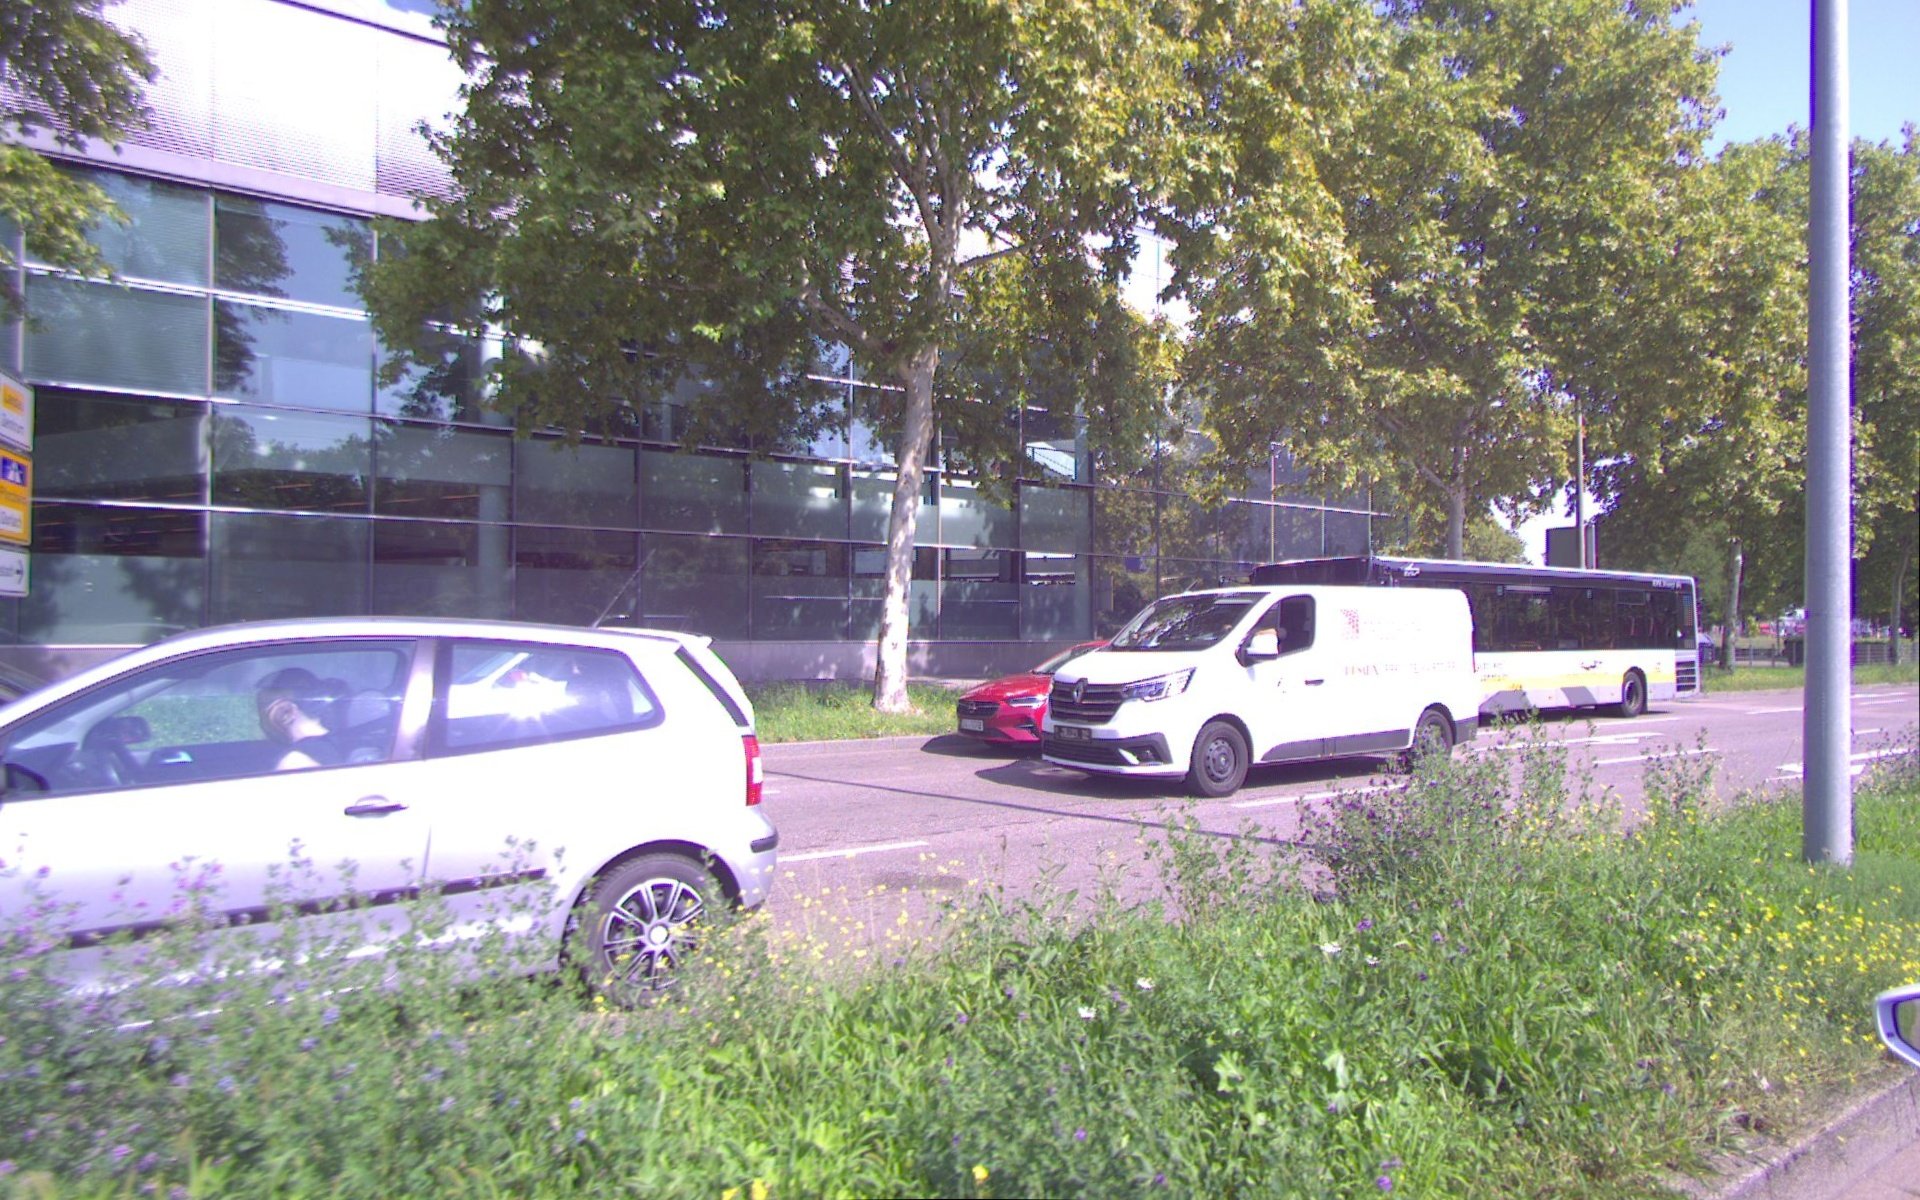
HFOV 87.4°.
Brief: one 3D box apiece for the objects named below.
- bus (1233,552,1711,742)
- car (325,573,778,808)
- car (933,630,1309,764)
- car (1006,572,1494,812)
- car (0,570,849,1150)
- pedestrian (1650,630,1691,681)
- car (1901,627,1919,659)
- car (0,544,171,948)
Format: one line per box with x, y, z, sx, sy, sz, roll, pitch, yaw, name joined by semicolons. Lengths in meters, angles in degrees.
9.787;0.908;18.425;10.785;2.729;2.648;2;-4;-32;bus
-4.046;0.852;10.137;3.933;1.920;1.917;2;-4;-33;car
2.292;1.243;13.625;5.155;1.530;1.770;2;-4;-32;car
3.141;0.809;10.488;5.129;1.986;1.918;0;-2;-31;car
-2.589;0.742;3.657;4.054;1.555;1.606;0;-3;-31;car
30.148;2.338;42.636;0.995;2.041;1.269;0;1;11;pedestrian
75.839;3.345;76.620;2.253;2.369;5.552;-1;1;-32;car
-6.571;0.659;4.394;4.649;1.872;1.709;2;-4;-31;car
